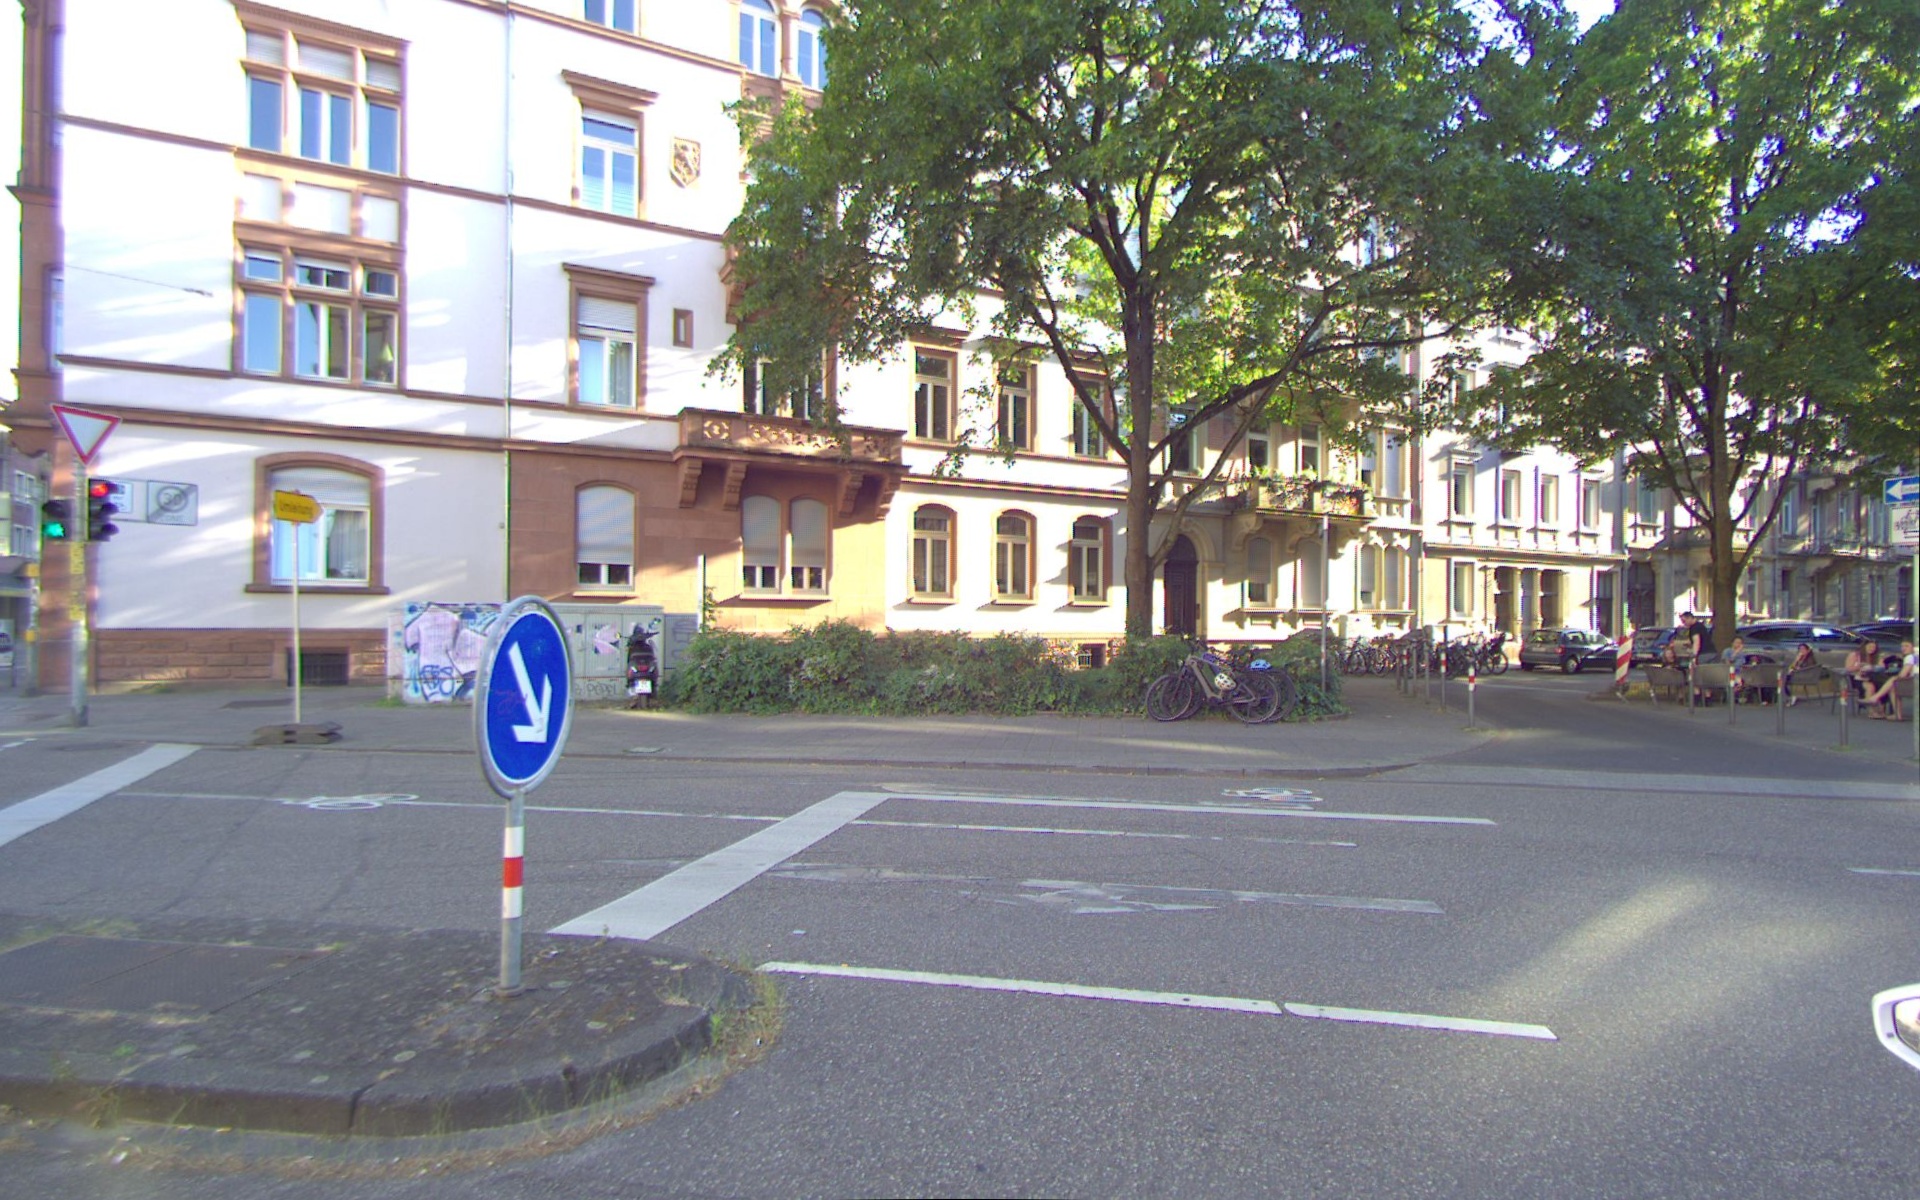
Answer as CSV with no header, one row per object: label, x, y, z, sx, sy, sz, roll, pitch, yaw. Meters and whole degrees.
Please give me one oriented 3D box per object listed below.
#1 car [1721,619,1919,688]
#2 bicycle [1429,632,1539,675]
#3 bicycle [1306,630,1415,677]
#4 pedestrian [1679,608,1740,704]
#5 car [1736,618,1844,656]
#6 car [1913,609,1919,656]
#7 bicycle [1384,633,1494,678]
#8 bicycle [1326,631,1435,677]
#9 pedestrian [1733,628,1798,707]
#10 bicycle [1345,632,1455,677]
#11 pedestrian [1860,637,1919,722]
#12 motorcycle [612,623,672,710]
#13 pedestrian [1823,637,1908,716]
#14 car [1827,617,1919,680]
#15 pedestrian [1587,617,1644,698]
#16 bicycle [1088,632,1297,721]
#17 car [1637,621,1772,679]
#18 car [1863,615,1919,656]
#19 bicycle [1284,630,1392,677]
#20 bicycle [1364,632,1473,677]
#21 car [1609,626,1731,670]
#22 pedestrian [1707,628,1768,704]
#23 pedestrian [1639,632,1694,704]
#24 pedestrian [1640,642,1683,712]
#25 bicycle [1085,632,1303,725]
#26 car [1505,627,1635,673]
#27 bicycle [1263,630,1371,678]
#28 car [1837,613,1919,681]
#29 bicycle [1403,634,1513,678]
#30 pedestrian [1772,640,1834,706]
car,21.401,1.284,24.990,3.770,1.582,1.799,0,-1,32
bicycle,15.719,1.579,30.271,0.742,1.196,3.116,1,-1,-27
bicycle,11.071,1.455,27.945,0.742,1.196,3.116,1,-1,-27
pedestrian,14.298,1.071,19.179,0.752,1.793,0.572,-1,-2,20
car,32.084,1.404,38.848,3.703,1.394,1.916,1,-1,-27
car,45.678,1.492,45.996,3.703,2.112,1.800,1,-1,-27
bicycle,13.959,1.586,29.400,0.742,1.196,3.116,1,-1,-27
bicycle,11.769,1.484,28.294,0.742,1.196,3.116,1,-1,-27
pedestrian,15.128,1.260,18.883,0.752,1.460,0.668,-1,-2,20
bicycle,12.493,1.519,28.681,0.742,1.196,3.116,1,-1,-27
pedestrian,14.840,1.217,15.649,0.734,1.265,1.025,-1,-1,5
motorcycle,-5.013,1.008,15.898,0.829,1.282,2.103,1,-1,-17
pedestrian,14.911,1.246,16.557,0.734,1.265,0.707,-1,-1,5
car,26.769,1.338,27.875,3.937,1.706,1.992,-1,-2,37
pedestrian,14.015,1.231,21.496,0.751,1.691,0.668,0,-2,6
bicycle,3.325,1.088,14.529,2.899,1.212,0.548,0,-1,12
car,23.390,1.525,31.548,3.951,1.706,1.985,1,-1,-29
car,41.096,1.520,43.481,3.703,1.706,1.800,1,-1,-27
bicycle,10.319,1.428,27.577,0.742,1.196,3.116,1,-1,-27
bicycle,13.197,1.552,29.063,0.742,1.196,3.116,1,-1,-27
car,24.268,1.611,34.313,3.703,1.394,1.916,1,-1,-27
pedestrian,15.373,1.295,19.881,0.752,1.460,0.668,-1,-2,20
pedestrian,14.293,1.371,20.344,0.752,1.430,0.668,-1,-2,22
pedestrian,13.805,1.507,19.776,0.561,1.338,0.505,-1,-1,18
bicycle,3.208,1.063,13.945,2.899,1.212,0.548,0,-1,12
car,19.546,1.566,32.184,3.703,1.394,1.916,1,-1,-27
bicycle,9.586,1.429,27.174,0.742,1.196,3.116,1,-1,-27
car,25.166,1.208,25.698,1.986,1.706,3.949,1,-2,-43
bicycle,14.696,1.621,29.793,0.742,1.196,3.116,1,-1,-27
pedestrian,16.000,1.372,19.080,0.664,1.231,0.668,-1,-2,18
